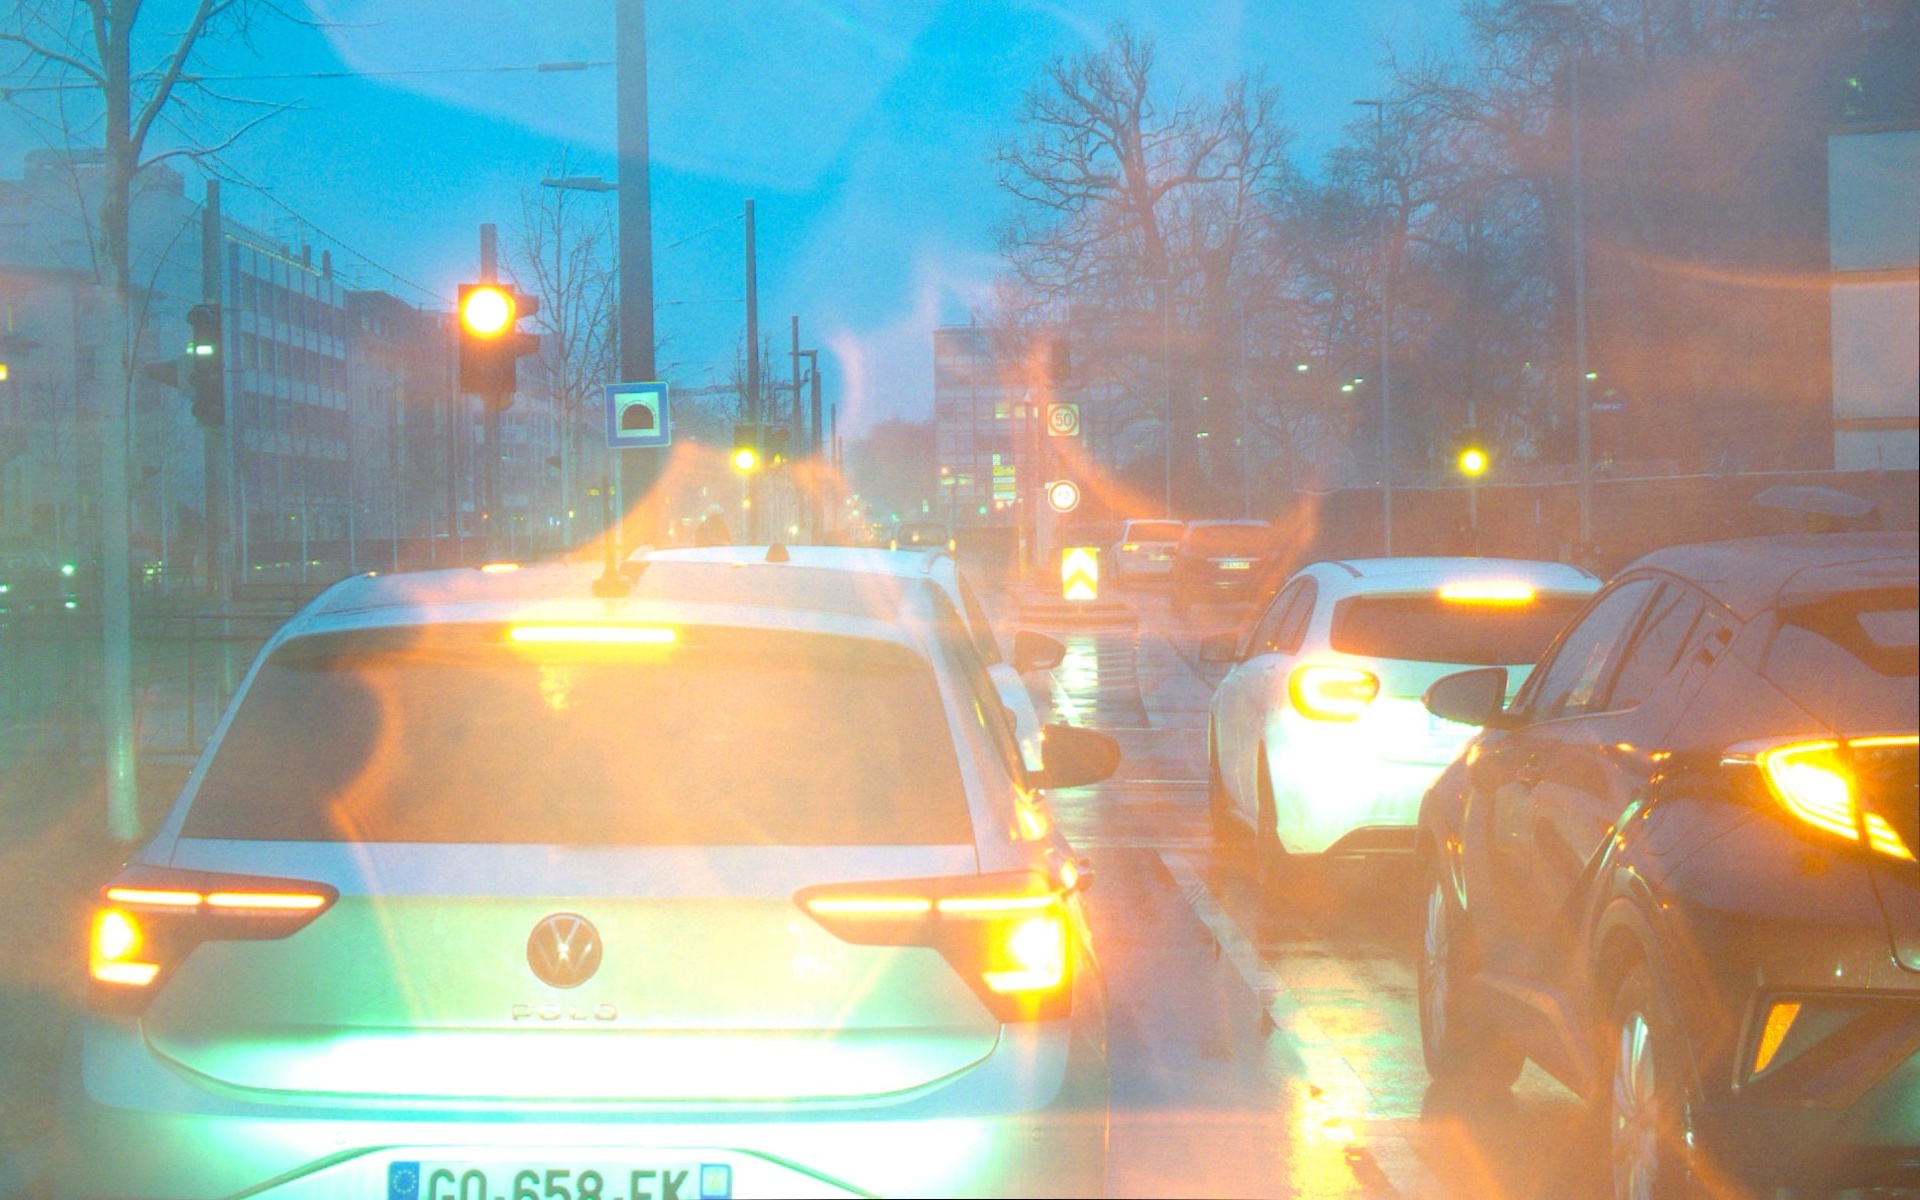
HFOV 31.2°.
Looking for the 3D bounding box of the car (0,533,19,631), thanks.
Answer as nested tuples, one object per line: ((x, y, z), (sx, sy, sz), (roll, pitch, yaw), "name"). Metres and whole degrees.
((-16.666, -0.300, 55.343), (1.993, 1.597, 4.000), (1, 1, -1), "car")

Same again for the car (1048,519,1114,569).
((3.538, -1.656, 100.700), (1.737, 1.415, 4.146), (-1, 1, 0), "car")

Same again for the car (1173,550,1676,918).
((1.963, 0.506, 15.544), (1.745, 1.428, 3.731), (1, 1, 0), "car")

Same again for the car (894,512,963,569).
((-0.813, -1.566, 89.873), (1.737, 1.415, 4.394), (-1, 1, 0), "car")

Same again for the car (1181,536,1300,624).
((4.852, -0.370, 59.840), (1.737, 1.415, 3.703), (-1, 1, 0), "car")

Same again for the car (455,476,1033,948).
((-0.697, 0.297, 13.167), (1.799, 1.461, 4.586), (-1, 1, 0), "car")

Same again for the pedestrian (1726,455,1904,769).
((5.617, 0.069, 22.642), (0.959, 2.007, 1.007), (-1, 1, 4), "pedestrian")

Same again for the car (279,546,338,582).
((-29.881, -1.664, 157.838), (1.950, 1.597, 4.000), (1, 1, 0), "car")

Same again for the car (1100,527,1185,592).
((4.225, -0.959, 79.911), (1.737, 1.415, 3.703), (-1, 1, 0), "car")

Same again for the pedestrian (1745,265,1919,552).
((6.344, -1.357, 24.667), (0.958, 2.007, 1.008), (-1, 1, -23), "pedestrian")

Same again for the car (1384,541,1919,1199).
((2.129, 0.628, 7.882), (1.800, 1.505, 3.895), (-1, 1, 0), "car")

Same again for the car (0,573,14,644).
((-22.434, 0.220, 76.161), (1.867, 1.571, 4.000), (-1, 1, -1), "car")

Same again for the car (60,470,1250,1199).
((-0.546, 0.533, 6.920), (1.693, 1.528, 4.001), (0, 1, -3), "car")
